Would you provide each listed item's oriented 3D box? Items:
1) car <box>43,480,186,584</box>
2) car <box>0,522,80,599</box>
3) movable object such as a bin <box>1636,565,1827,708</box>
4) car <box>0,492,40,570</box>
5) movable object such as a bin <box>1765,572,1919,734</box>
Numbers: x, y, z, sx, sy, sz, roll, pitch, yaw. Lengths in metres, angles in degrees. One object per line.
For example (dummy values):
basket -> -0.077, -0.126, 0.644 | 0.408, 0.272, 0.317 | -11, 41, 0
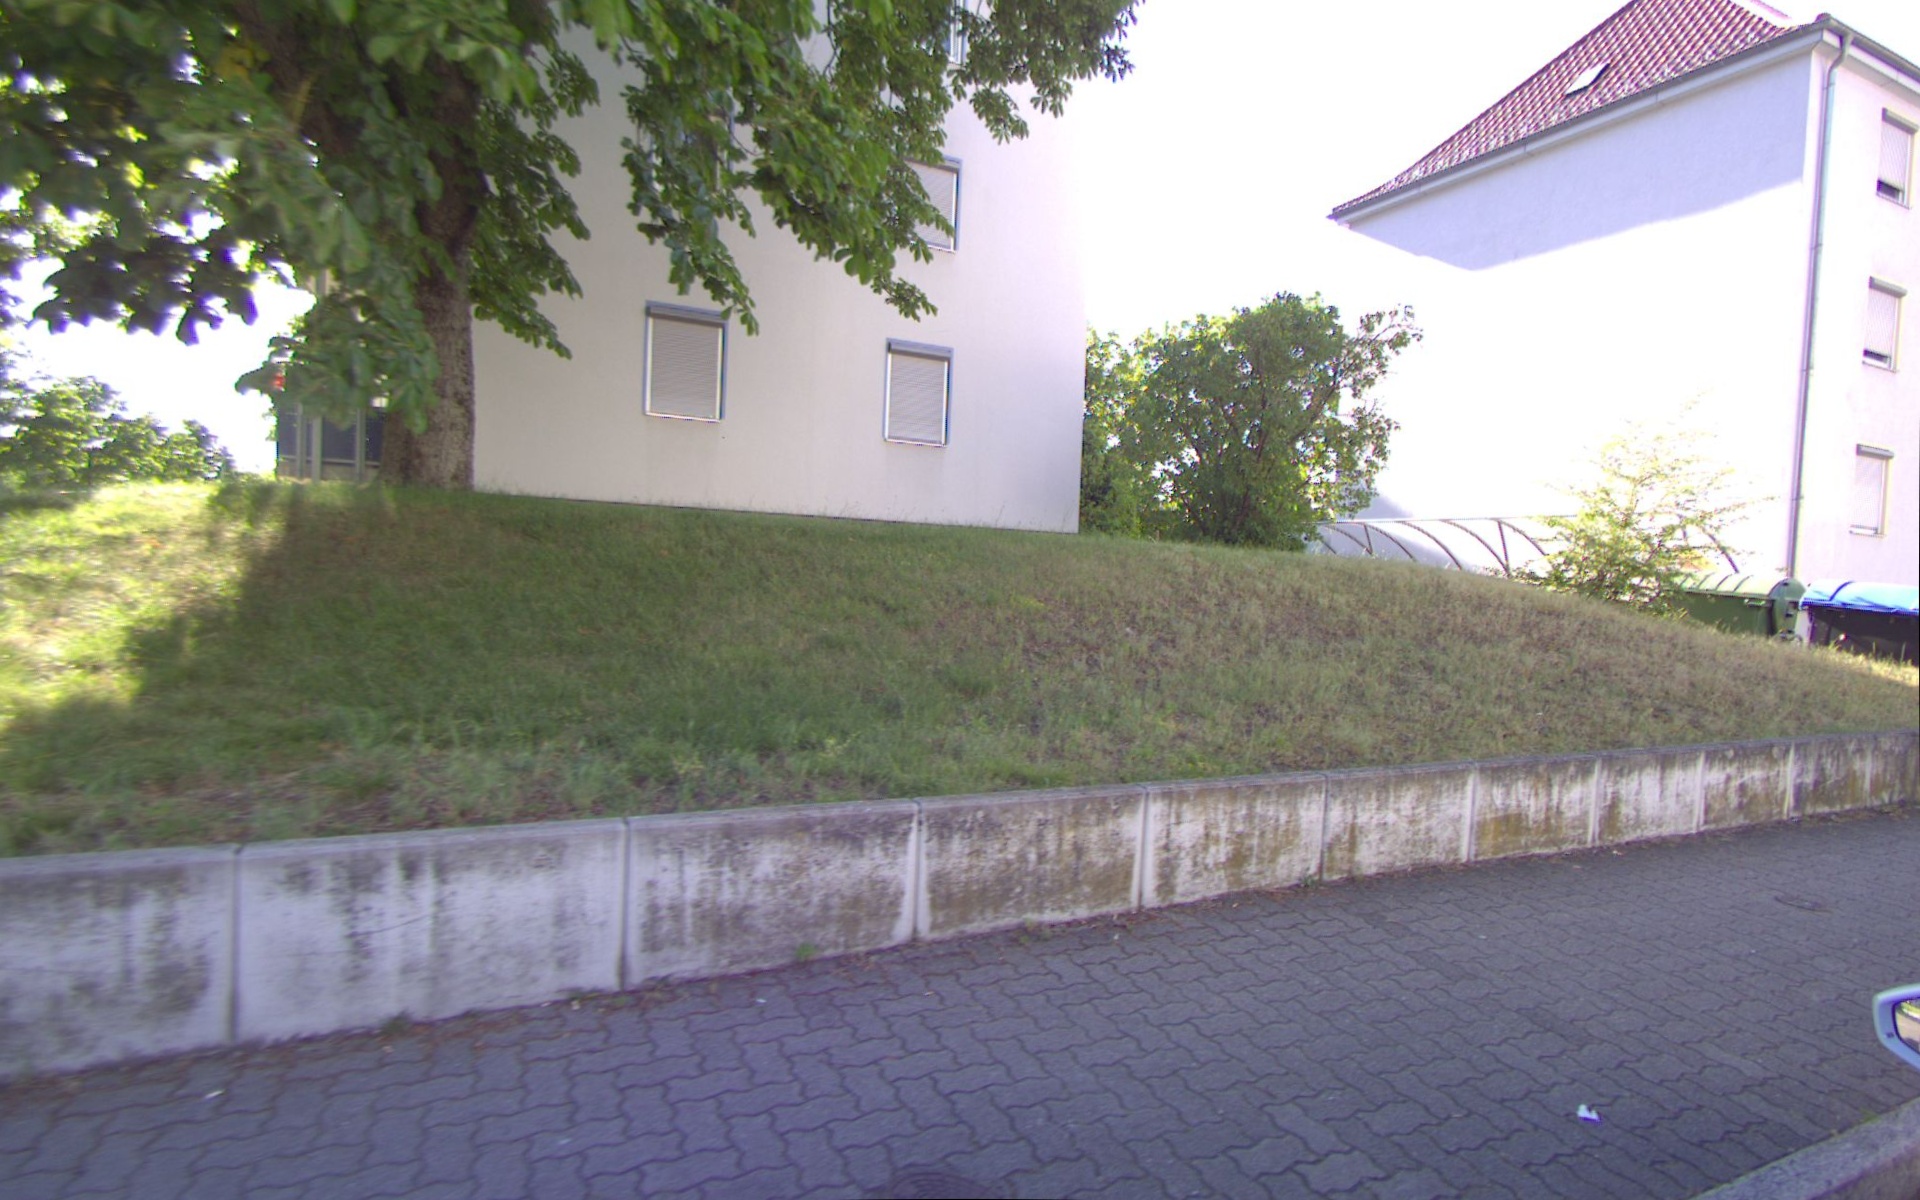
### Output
car -> -24.938, -1.962, 29.866 | 2.143, 2.725, 5.375 | 1, 2, -28
car -> -20.427, -0.890, 20.933 | 1.967, 1.507, 4.101 | 2, 2, -24
movable object such as a bin -> 9.611, 0.422, 12.563 | 1.175, 1.635, 1.454 | 2, 2, -26
car -> -32.313, -2.305, 32.819 | 2.076, 2.530, 4.101 | 2, 2, -24
movable object such as a bin -> 10.272, 0.552, 11.249 | 1.247, 1.644, 1.494 | 2, 2, -26
